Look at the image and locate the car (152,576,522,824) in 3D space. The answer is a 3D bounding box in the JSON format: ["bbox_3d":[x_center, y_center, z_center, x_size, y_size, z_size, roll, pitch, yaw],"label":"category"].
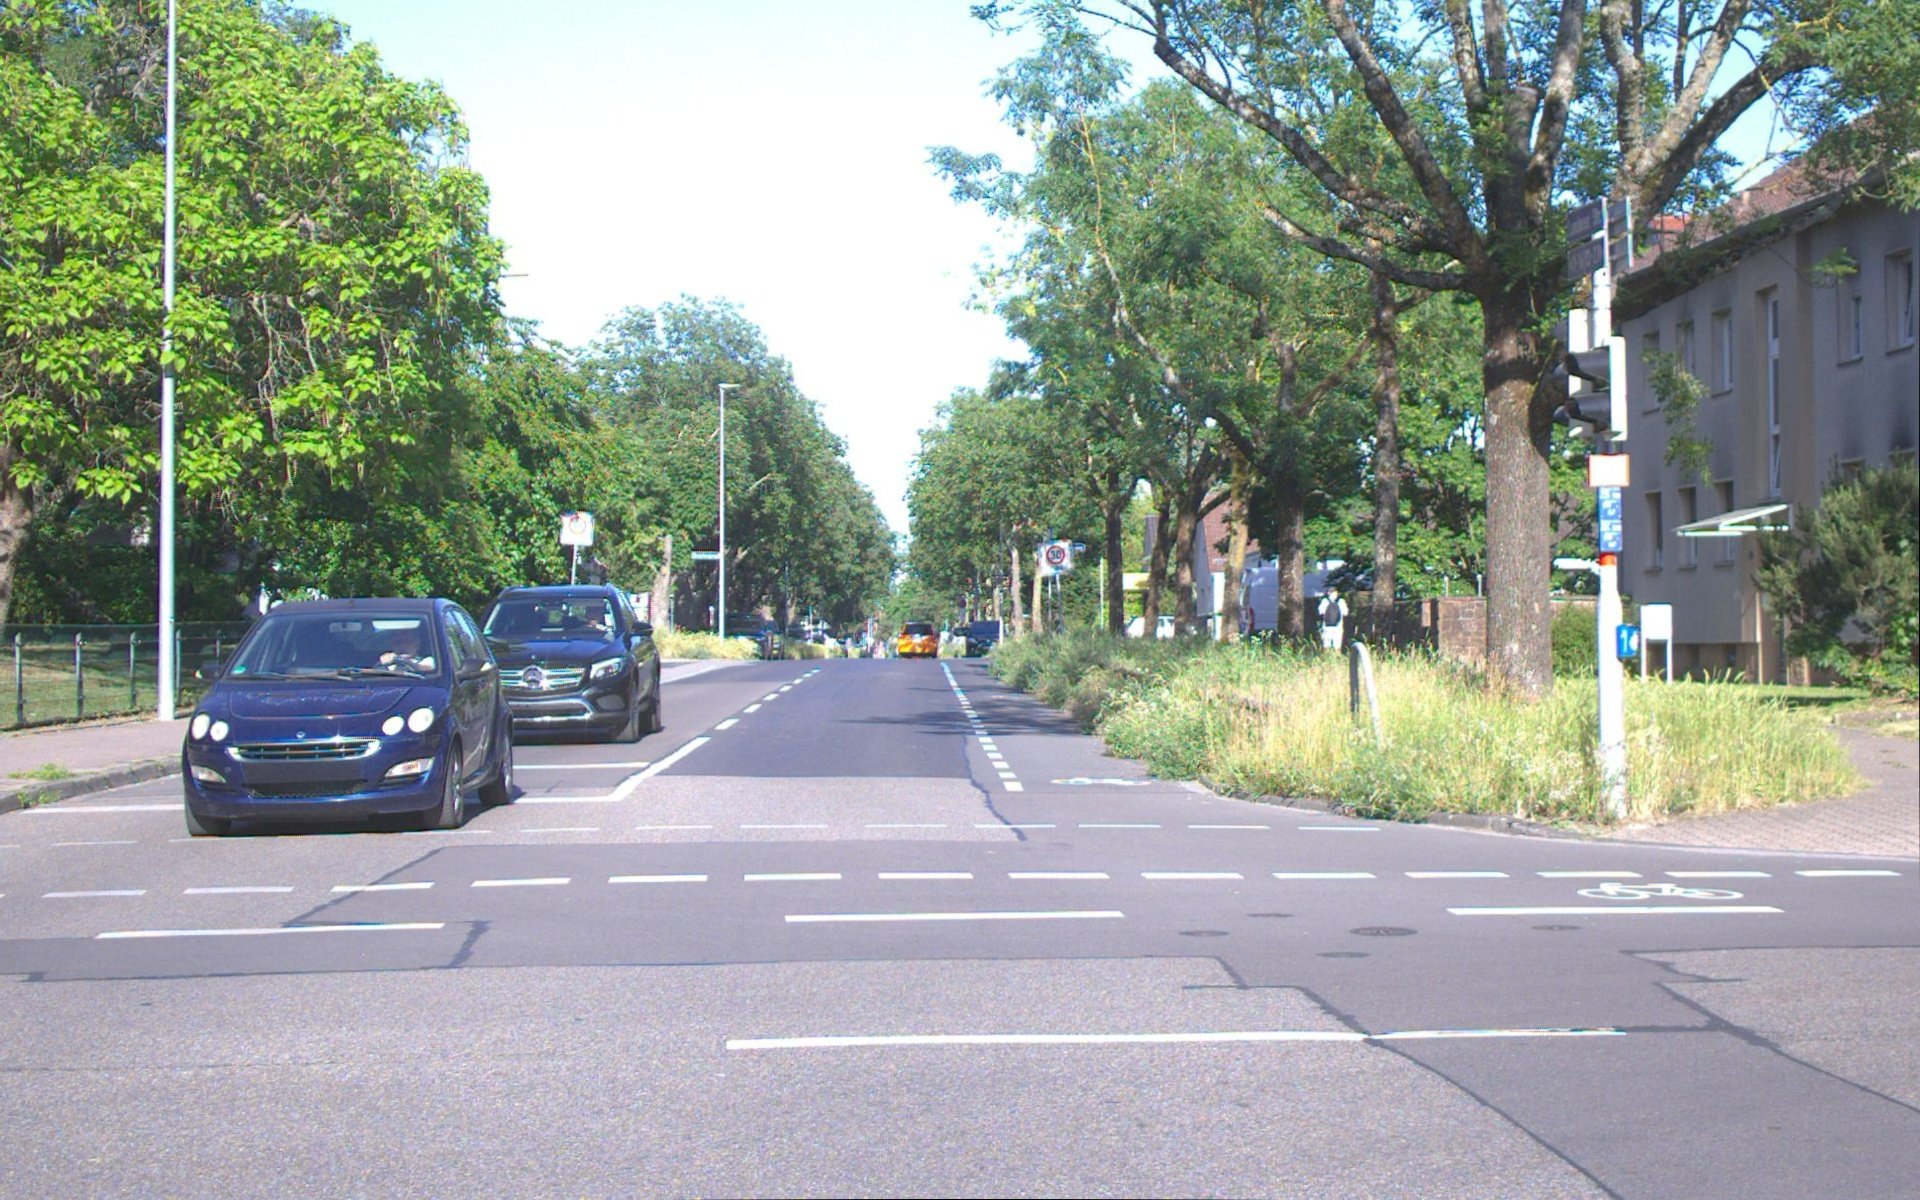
[{"bbox_3d":[-3.988,0.643,22.578,1.806,1.450,3.850,-1,-1,-2],"label":"car"}]

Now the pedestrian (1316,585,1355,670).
[{"bbox_3d":[7.638,0.555,70.018,0.637,1.700,0.612,-3,0,-2],"label":"pedestrian"}]

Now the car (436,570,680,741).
[{"bbox_3d":[-4.086,0.534,35.583,1.815,1.612,4.392,-2,0,2],"label":"car"}]

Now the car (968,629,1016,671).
[{"bbox_3d":[1.304,2.099,143.607,1.853,1.620,4.469,-1,-2,-1],"label":"car"}]

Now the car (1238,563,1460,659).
[{"bbox_3d":[10.436,0.297,92.545,5.594,2.530,2.266,0,0,-4],"label":"car"}]

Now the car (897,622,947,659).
[{"bbox_3d":[-1.622,1.744,146.320,1.887,1.474,3.888,2,-1,-4],"label":"car"}]
